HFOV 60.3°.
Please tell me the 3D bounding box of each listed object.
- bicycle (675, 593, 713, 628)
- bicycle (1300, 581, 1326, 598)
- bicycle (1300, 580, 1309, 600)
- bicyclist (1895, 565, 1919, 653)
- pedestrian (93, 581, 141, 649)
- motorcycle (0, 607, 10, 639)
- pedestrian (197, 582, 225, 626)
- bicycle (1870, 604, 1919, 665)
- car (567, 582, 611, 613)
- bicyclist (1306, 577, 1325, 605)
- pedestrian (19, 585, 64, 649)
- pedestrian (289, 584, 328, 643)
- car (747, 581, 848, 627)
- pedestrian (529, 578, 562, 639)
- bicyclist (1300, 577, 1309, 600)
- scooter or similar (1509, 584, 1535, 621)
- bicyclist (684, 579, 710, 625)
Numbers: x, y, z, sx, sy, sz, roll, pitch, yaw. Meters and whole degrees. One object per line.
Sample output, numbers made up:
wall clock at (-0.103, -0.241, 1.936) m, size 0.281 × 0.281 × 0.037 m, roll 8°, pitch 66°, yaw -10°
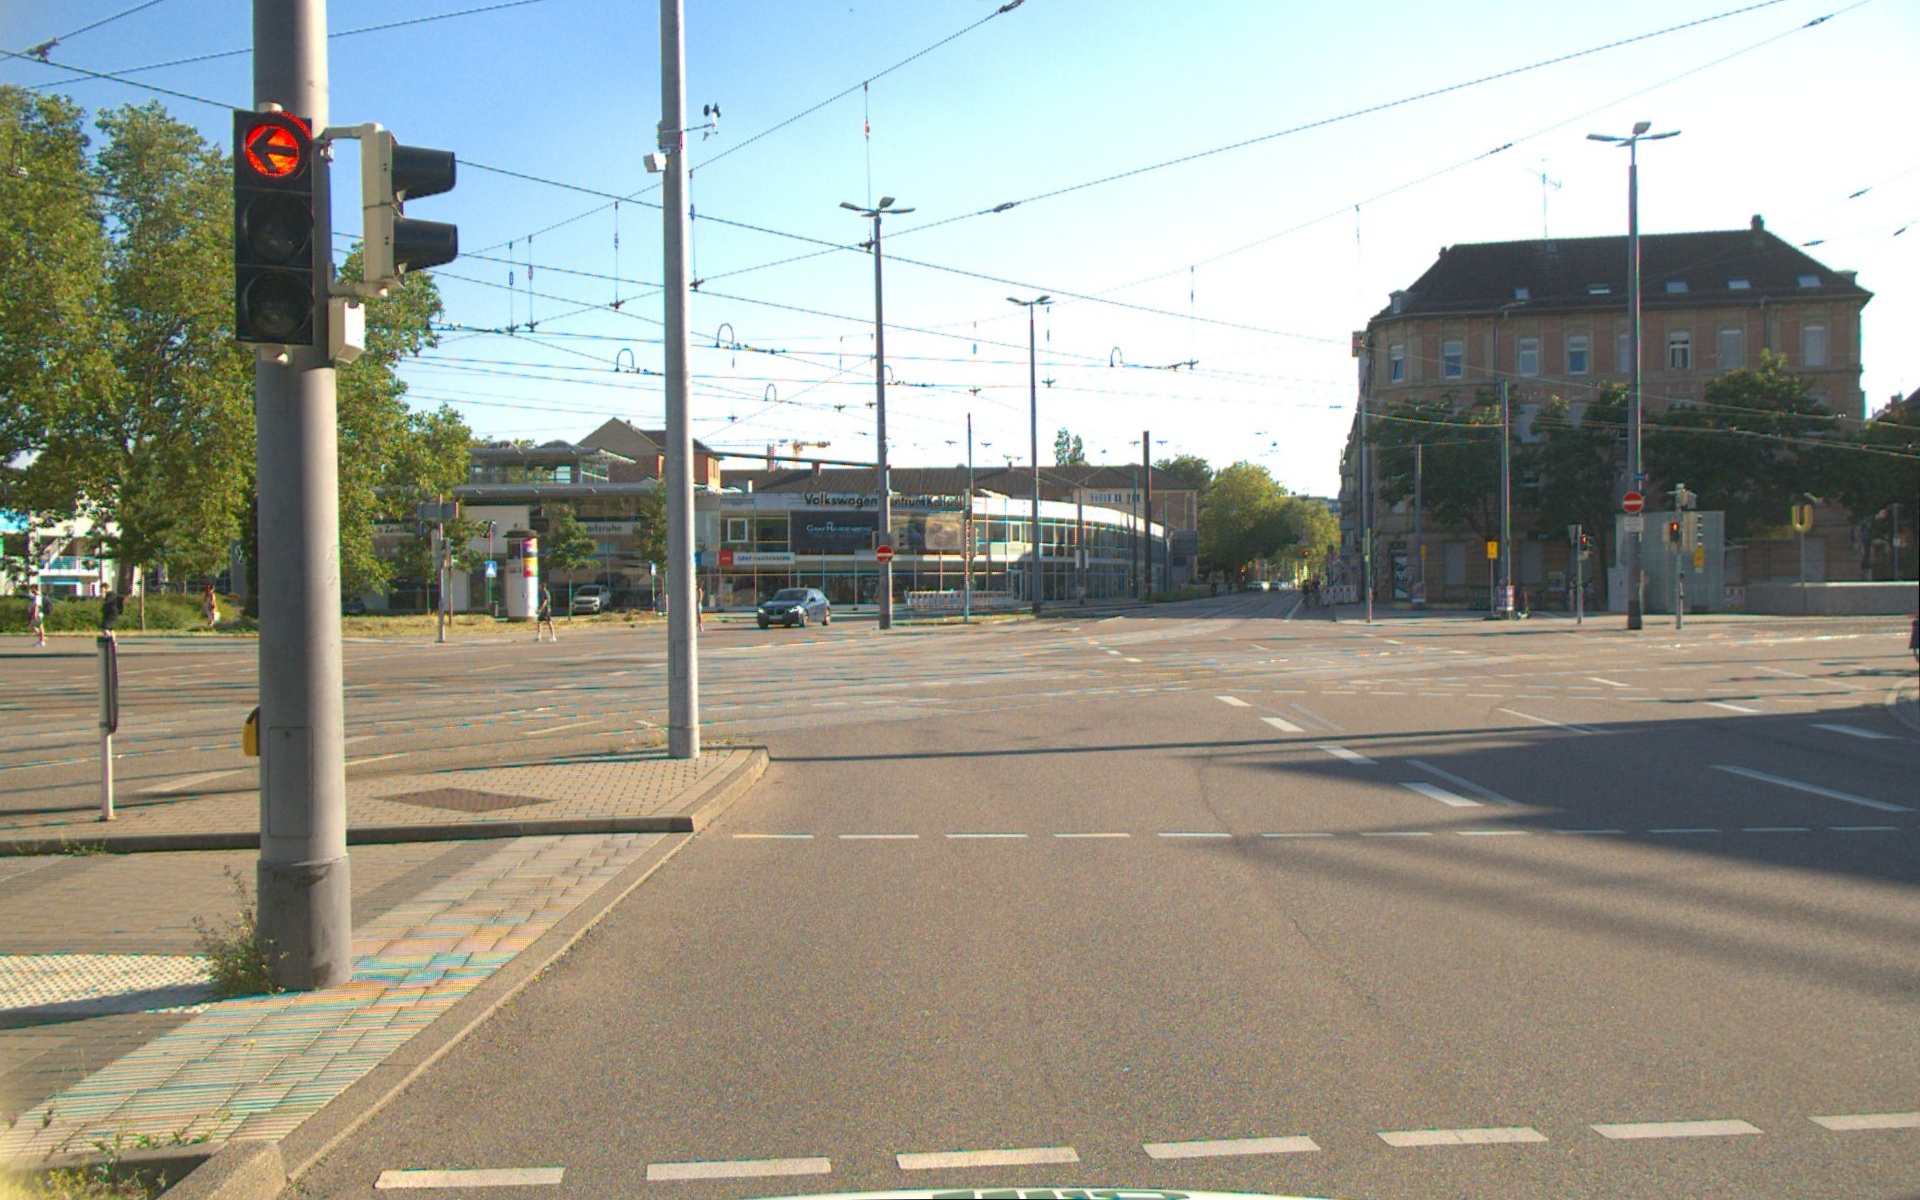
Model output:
bicycle at (-9.564, 0.382, 59.485) m, size 0.599 × 1.210 × 1.870 m, roll 1°, pitch 0°, yaw 17°
bicycle at (20.559, -0.618, 96.311) m, size 0.650 × 0.969 × 1.585 m, roll 1°, pitch 0°, yaw -28°
bicycle at (17.596, -0.507, 84.449) m, size 0.401 × 0.958 × 1.847 m, roll 1°, pitch 0°, yaw 12°
bicyclist at (17.567, 0.161, 30.064) m, size 0.505 × 1.584 × 0.945 m, roll 1°, pitch 0°, yaw -9°
pedestrian at (-21.780, 0.383, 42.745) m, size 0.777 × 1.736 × 0.759 m, roll 1°, pitch -1°, yaw 6°
motorcycle at (-28.926, 0.668, 48.507) m, size 1.748 × 0.930 × 0.675 m, roll 1°, pitch 0°, yaw -21°
pedestrian at (-29.363, 0.165, 64.851) m, size 0.839 × 1.723 × 0.496 m, roll 1°, pitch -1°, yaw -3°
bicycle at (17.570, 0.633, 30.003) m, size 0.524 × 1.067 × 2.316 m, roll 1°, pitch 1°, yaw -9°
car at (-22.177, -0.126, 98.991) m, size 1.954 × 1.780 × 3.997 m, roll 1°, pitch 0°, yaw -4°
bicyclist at (20.671, -0.522, 96.167) m, size 0.763 × 1.604 × 0.754 m, roll 1°, pitch -1°, yaw -29°
pedestrian at (-25.522, 0.469, 45.957) m, size 0.777 × 1.736 × 0.759 m, roll 1°, pitch -1°, yaw 6°
pedestrian at (-19.234, 0.398, 48.820) m, size 0.777 × 1.736 × 0.759 m, roll 1°, pitch -1°, yaw 6°
car at (-6.004, 0.165, 61.575) m, size 1.954 × 1.613 × 3.996 m, roll 1°, pitch 0°, yaw 26°
pedestrian at (-13.218, 0.262, 52.801) m, size 0.777 × 1.919 × 0.759 m, roll 1°, pitch -1°, yaw 6°
bicyclist at (17.618, -0.596, 84.547) m, size 0.399 × 1.136 × 0.399 m, roll 1°, pitch -1°, yaw 11°
scooter or similar at (21.627, 0.100, 63.642) m, size 0.769 × 1.400 × 1.910 m, roll 1°, pitch 0°, yaw 13°
bicyclist at (-9.486, 0.068, 59.720) m, size 0.585 × 1.644 × 0.823 m, roll 1°, pitch -1°, yaw 16°
